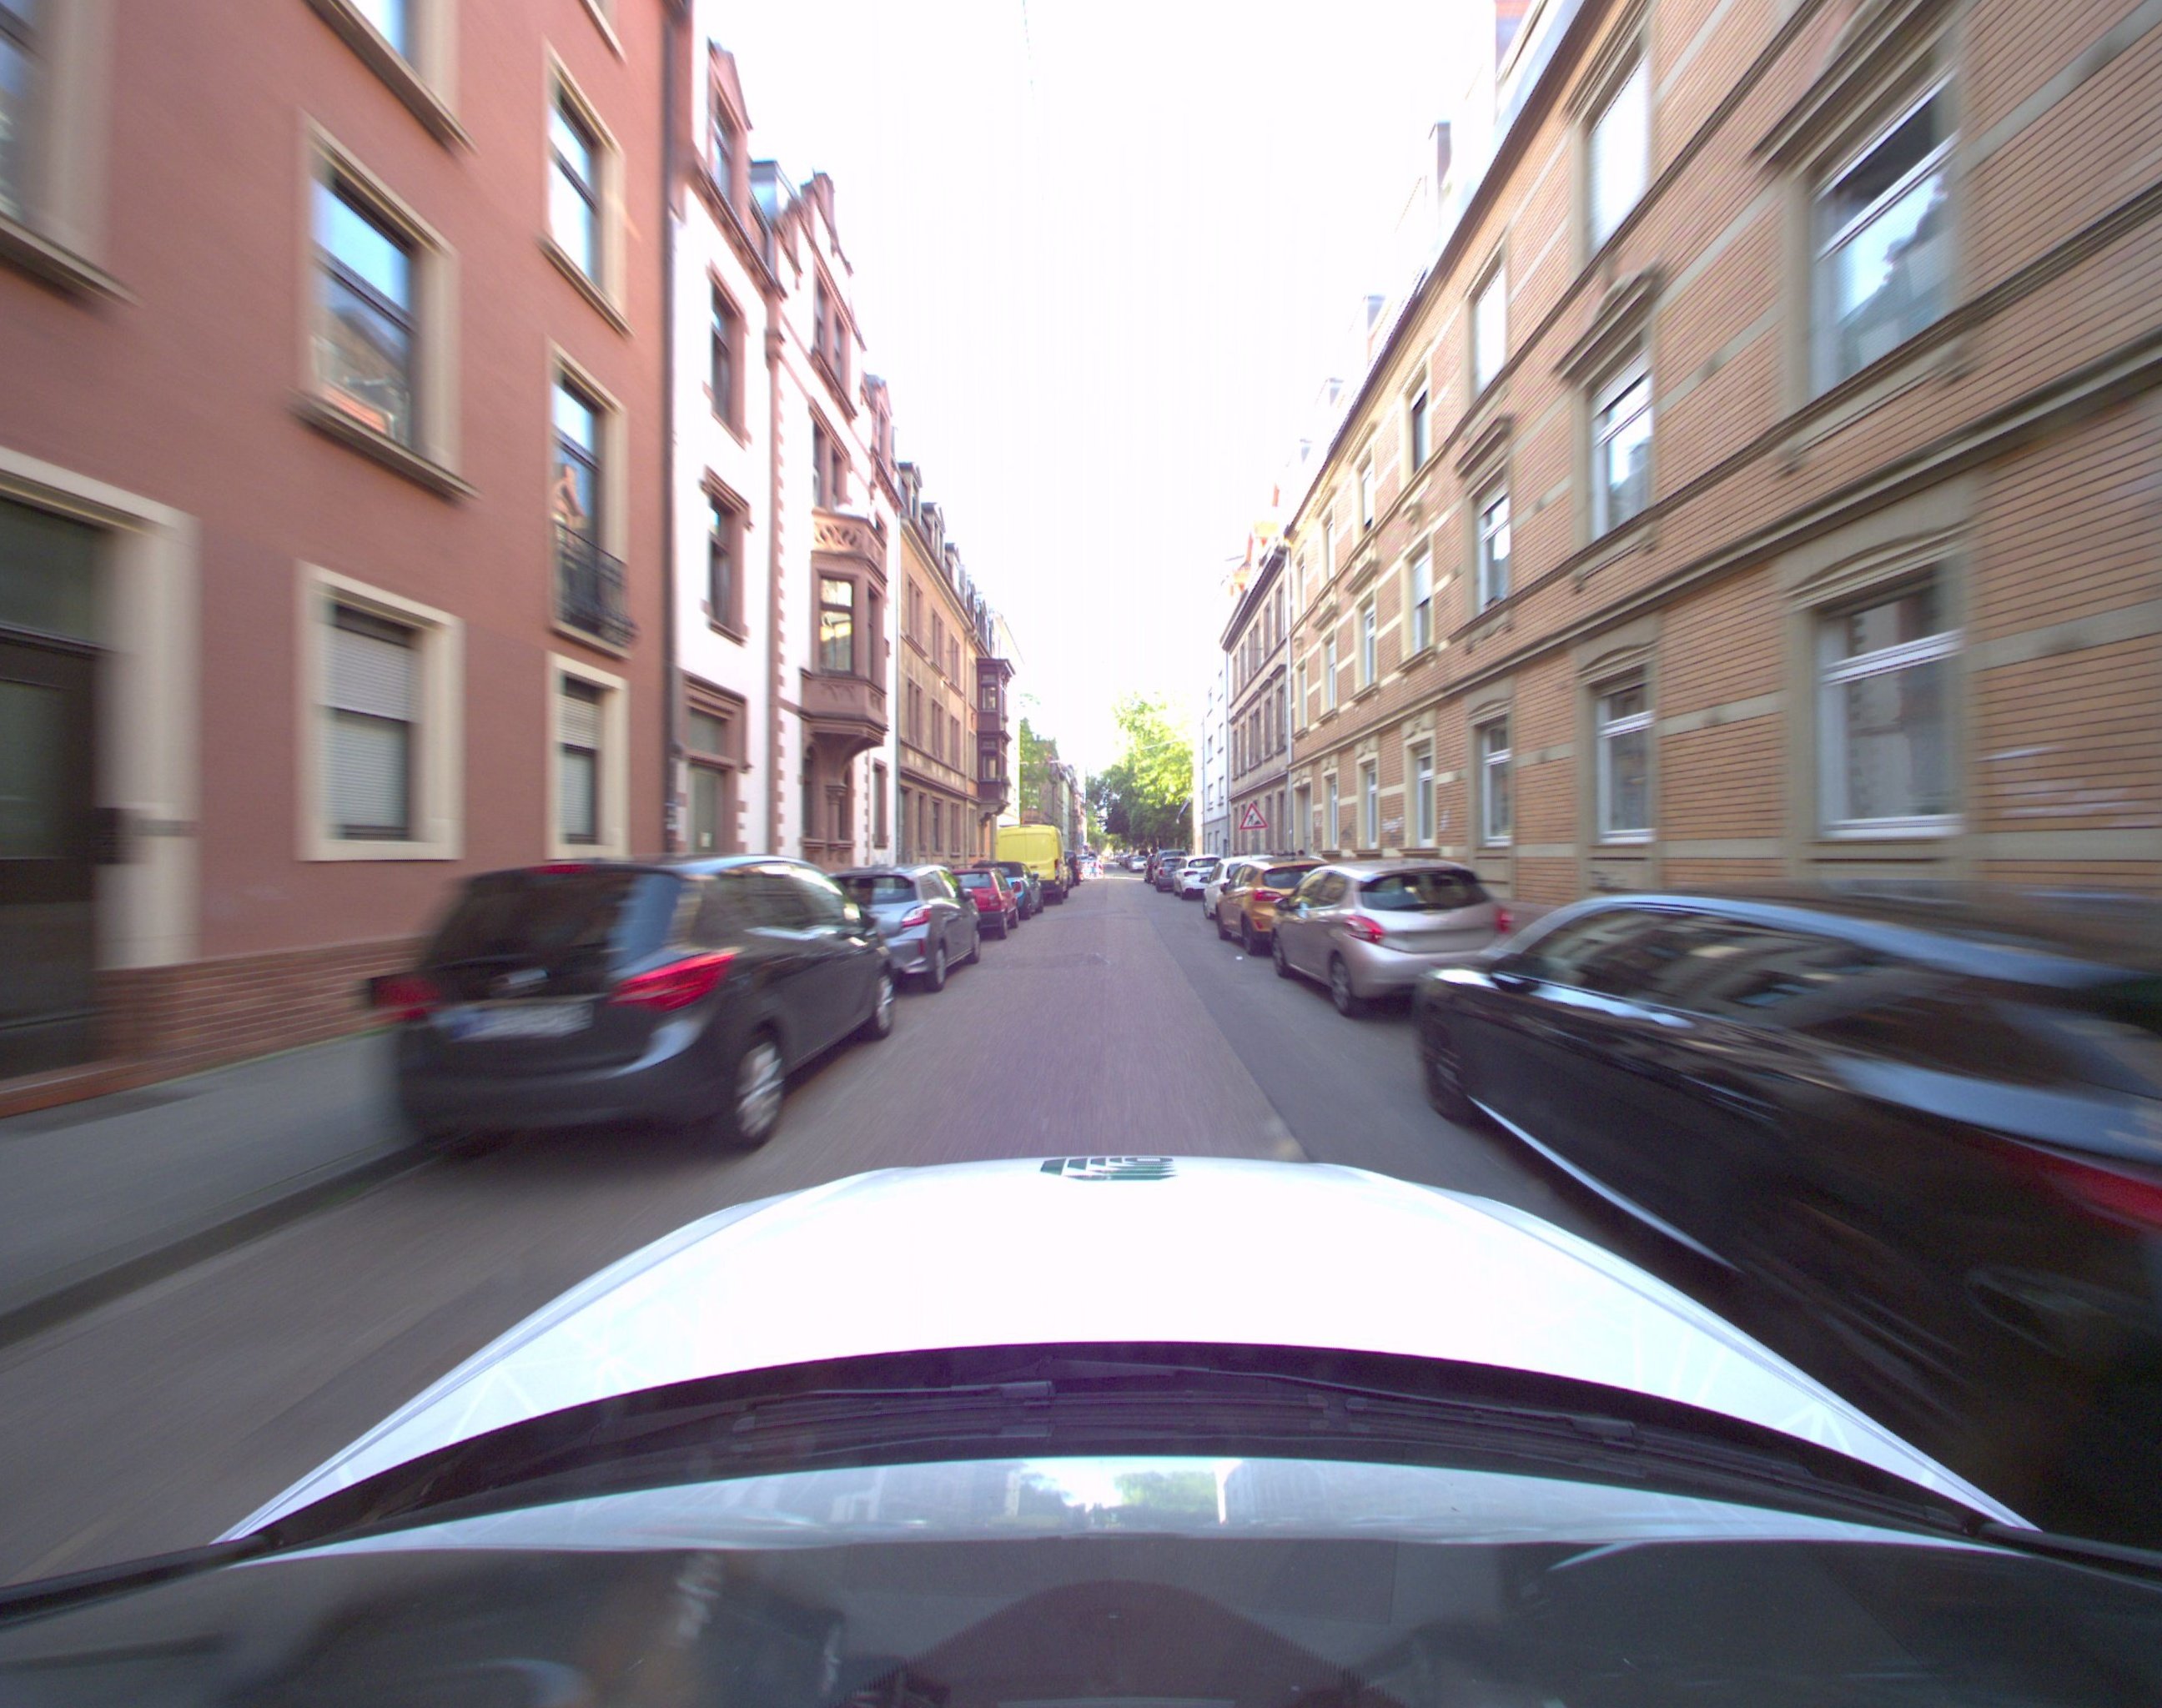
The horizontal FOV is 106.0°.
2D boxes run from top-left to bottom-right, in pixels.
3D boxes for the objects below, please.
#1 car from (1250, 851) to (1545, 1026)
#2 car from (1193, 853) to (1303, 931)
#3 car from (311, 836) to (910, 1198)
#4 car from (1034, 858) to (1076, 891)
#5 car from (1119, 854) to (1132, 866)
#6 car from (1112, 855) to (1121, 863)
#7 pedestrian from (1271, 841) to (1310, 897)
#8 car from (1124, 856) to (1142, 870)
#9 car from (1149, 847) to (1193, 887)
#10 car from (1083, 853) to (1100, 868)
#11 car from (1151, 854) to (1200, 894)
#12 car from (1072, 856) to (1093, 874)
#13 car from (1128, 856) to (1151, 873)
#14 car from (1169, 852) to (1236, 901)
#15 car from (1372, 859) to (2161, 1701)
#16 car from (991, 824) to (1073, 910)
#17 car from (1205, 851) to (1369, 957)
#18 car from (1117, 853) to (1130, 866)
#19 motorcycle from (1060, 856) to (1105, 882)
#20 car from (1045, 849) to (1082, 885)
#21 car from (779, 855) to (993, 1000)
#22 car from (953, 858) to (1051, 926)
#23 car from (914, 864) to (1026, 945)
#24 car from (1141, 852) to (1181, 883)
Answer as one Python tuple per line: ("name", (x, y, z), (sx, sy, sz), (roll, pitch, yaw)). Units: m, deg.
("car", (3.252, 0.750, 9.323), (1.720, 1.417, 4.093), (-5, 0, 0))
("car", (3.763, 0.799, 19.034), (1.714, 1.480, 4.084), (-4, 0, 1))
("car", (-2.536, 0.730, 5.688), (1.775, 1.606, 4.069), (0, 0, 1))
("car", (-1.160, 0.901, 37.874), (1.670, 1.449, 3.646), (0, 0, 2))
("car", (6.921, 0.940, 127.624), (1.823, 1.703, 4.001), (0, 0, 1))
("car", (7.937, 1.205, 184.416), (1.986, 1.728, 4.001), (-1, 0, 1))
("pedestrian", (6.378, 0.460, 24.786), (0.659, 1.630, 0.870), (-1, -2, -40))
("car", (6.129, 1.077, 96.384), (1.887, 1.625, 4.001), (0, -1, 1))
("car", (4.444, 0.625, 41.001), (1.747, 1.786, 4.725), (-3, 0, 2))
("car", (1.539, 0.948, 119.390), (2.299, 2.114, 5.173), (-1, -1, 3))
("car", (4.061, 0.822, 35.568), (1.746, 1.453, 4.291), (-5, 0, 3))
("car", (0.215, 1.092, 81.482), (1.874, 1.707, 4.002), (-2, -1, 3))
("car", (5.381, 0.931, 75.104), (1.718, 1.522, 3.998), (-1, 0, -1))
("car", (4.320, 0.763, 29.670), (1.748, 1.518, 4.444), (-5, 0, 1))
("car", (2.840, 0.752, 3.547), (1.770, 1.397, 4.320), (-1, 0, 2))
("car", (-1.519, 0.417, 27.698), (2.167, 2.508, 5.880), (-3, 0, 1))
("car", (3.351, 0.750, 14.069), (1.748, 1.446, 4.068), (-4, 0, 0))
("car", (7.611, 0.948, 146.848), (2.153, 2.255, 4.526), (-1, -1, 1))
("motorcycle", (0.080, 0.877, 47.730), (2.524, 1.482, 0.896), (0, 0, -25))
("car", (-0.875, 0.661, 42.332), (1.813, 1.766, 4.333), (-1, 0, -1))
("car", (-2.341, 0.809, 10.831), (1.687, 1.474, 3.921), (-3, 0, 2))
("car", (-1.916, 0.904, 21.026), (1.710, 1.412, 3.903), (-5, -1, 5))
("car", (-2.117, 0.924, 16.412), (1.612, 1.326, 3.613), (-3, 0, 1))
("car", (4.443, 0.767, 45.674), (1.893, 1.640, 4.392), (-1, -1, 1))
